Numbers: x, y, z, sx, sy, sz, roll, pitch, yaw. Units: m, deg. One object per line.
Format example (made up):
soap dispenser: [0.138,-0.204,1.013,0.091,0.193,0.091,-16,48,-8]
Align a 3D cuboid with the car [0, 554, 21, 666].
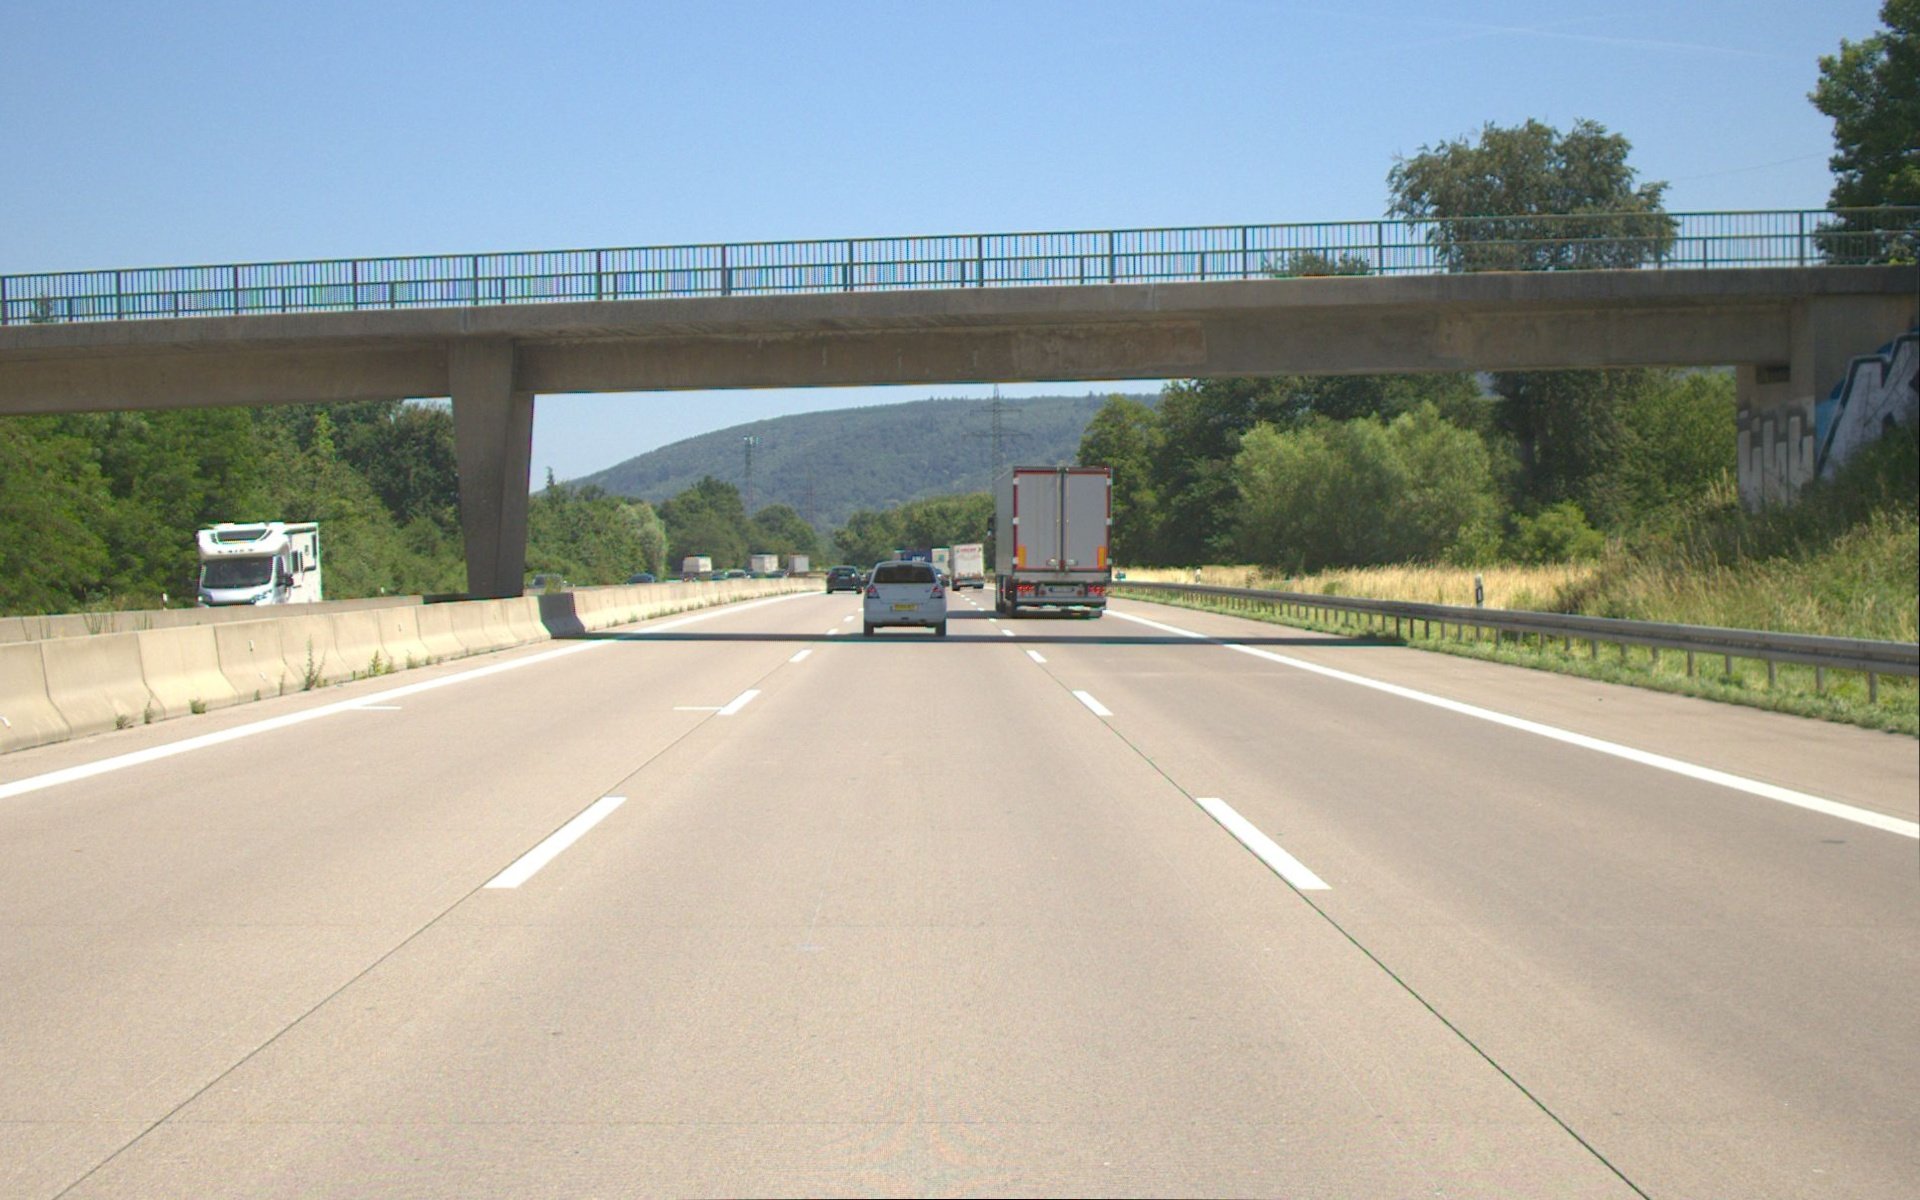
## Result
car: [-15.606,0.180,51.017,1.826,1.712,5.793,0,1,-1]

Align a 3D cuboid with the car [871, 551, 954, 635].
car: [-0.964,-0.168,70.224,1.641,1.656,3.360,1,1,0]

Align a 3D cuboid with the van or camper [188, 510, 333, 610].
van or camper: [-17.969,-1.050,88.735,2.248,2.435,7.803,1,1,-1]

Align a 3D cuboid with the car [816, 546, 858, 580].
car: [-6.380,-1.890,178.072,2.022,1.695,4.001,1,0,-3]

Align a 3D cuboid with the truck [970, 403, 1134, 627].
truck: [2.406,-2.325,97.896,3.577,5.767,18.249,0,1,-2]
